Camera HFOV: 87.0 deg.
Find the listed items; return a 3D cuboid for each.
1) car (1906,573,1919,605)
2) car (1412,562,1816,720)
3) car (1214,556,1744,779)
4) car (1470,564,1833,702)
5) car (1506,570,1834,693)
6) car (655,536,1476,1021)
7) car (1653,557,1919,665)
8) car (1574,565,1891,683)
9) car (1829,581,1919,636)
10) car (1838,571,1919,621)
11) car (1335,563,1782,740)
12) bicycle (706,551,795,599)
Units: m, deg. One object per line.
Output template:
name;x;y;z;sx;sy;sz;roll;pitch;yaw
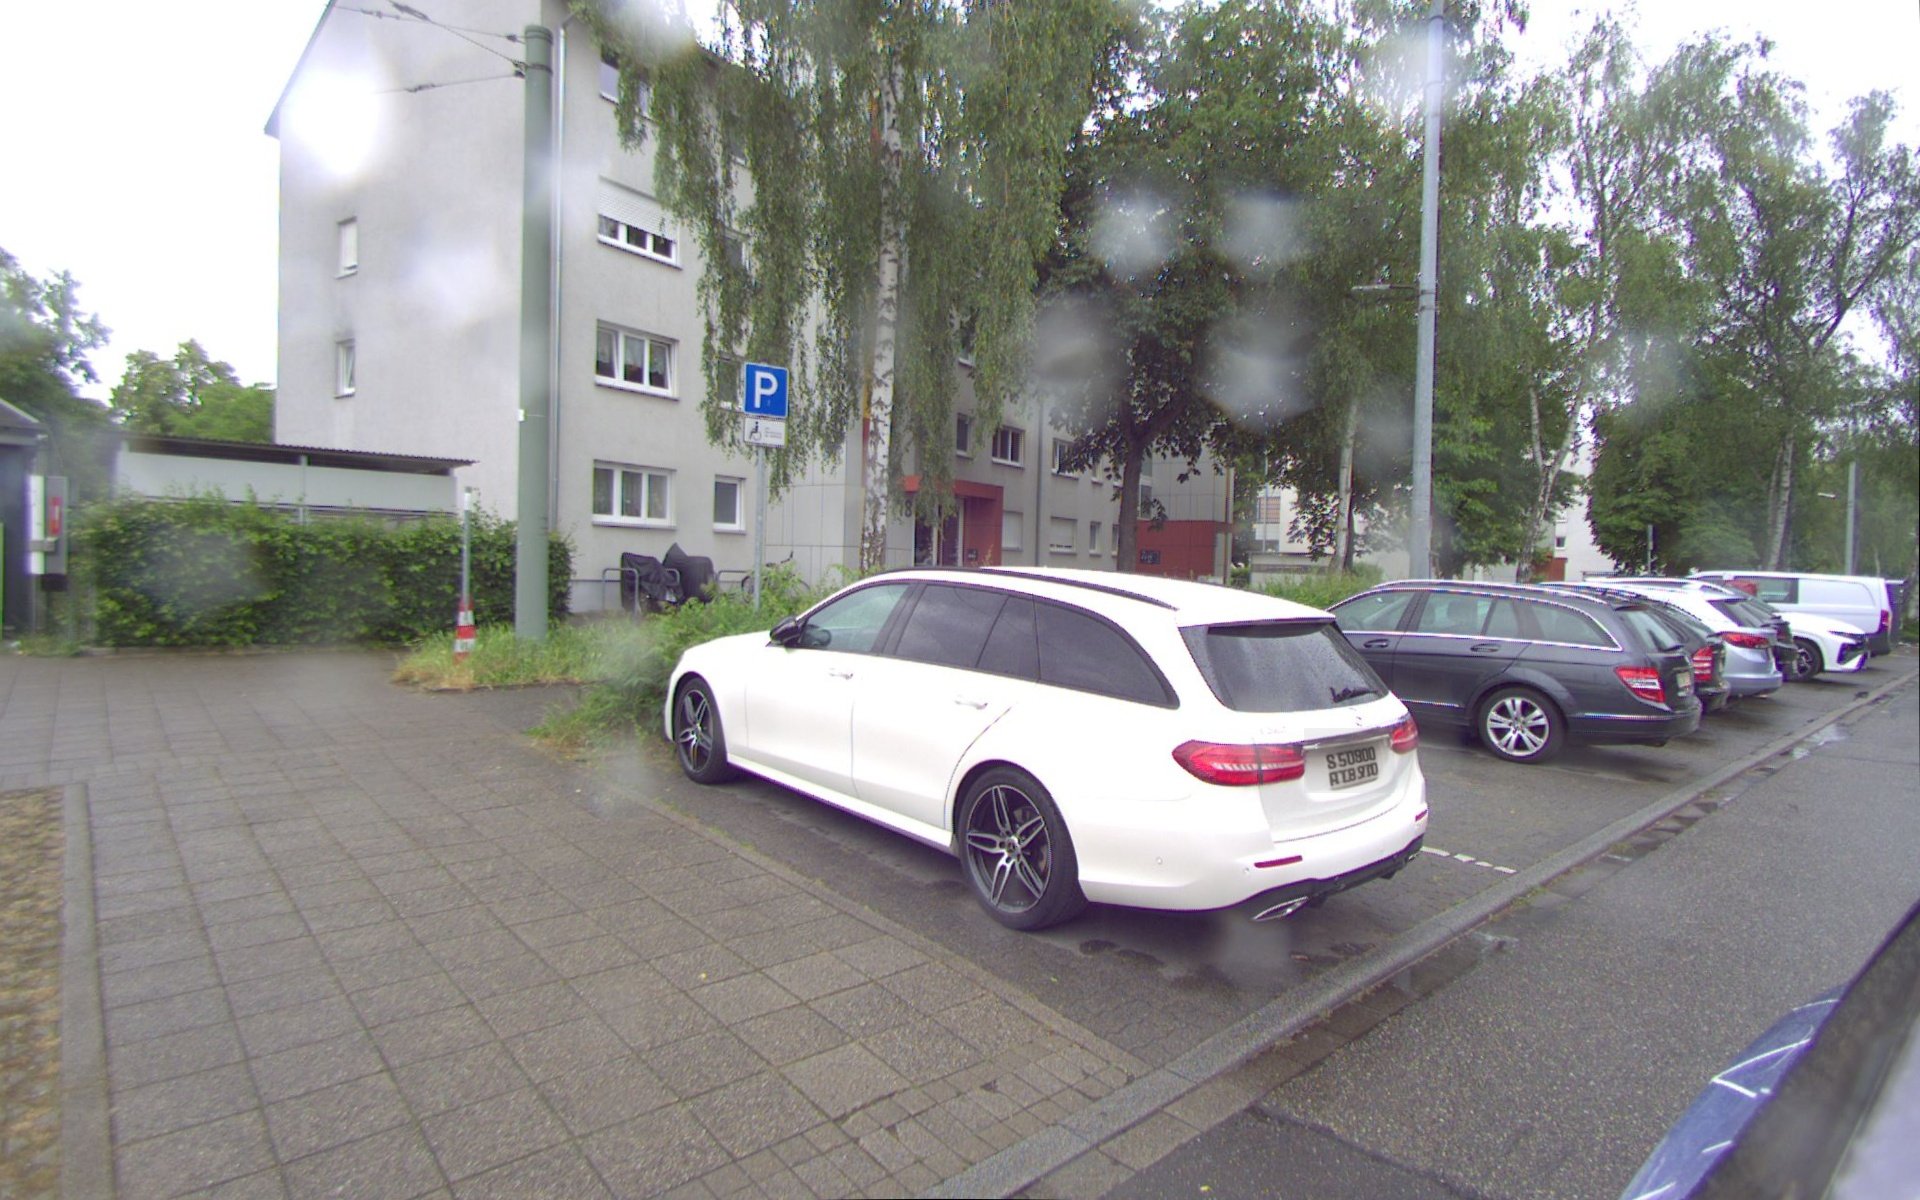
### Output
car;53.224;-0.604;53.810;1.866;1.701;3.998;-1;1;-36
car;8.245;0.378;13.050;1.653;1.514;4.044;-1;5;-43
car;4.612;0.425;9.470;1.653;1.456;4.044;-1;5;-43
car;9.869;0.349;14.690;1.653;1.514;4.044;-1;5;-43
car;11.332;0.388;16.366;1.653;1.514;4.044;-1;5;-43
car;0.081;0.474;5.610;1.651;1.456;4.622;-1;5;-41
car;17.551;0.137;21.663;4.172;1.888;1.654;7;5;43
car;13.696;0.316;18.174;1.651;1.637;4.181;0;5;-40
car;34.440;0.276;36.815;1.866;1.937;3.998;-1;1;-36
car;37.776;-0.173;40.249;1.866;1.937;3.998;-1;1;-36
car;6.622;0.417;11.545;1.653;1.456;4.044;-1;5;-43
bicycle;-4.522;-0.531;21.973;0.701;1.005;1.918;0;0;37
